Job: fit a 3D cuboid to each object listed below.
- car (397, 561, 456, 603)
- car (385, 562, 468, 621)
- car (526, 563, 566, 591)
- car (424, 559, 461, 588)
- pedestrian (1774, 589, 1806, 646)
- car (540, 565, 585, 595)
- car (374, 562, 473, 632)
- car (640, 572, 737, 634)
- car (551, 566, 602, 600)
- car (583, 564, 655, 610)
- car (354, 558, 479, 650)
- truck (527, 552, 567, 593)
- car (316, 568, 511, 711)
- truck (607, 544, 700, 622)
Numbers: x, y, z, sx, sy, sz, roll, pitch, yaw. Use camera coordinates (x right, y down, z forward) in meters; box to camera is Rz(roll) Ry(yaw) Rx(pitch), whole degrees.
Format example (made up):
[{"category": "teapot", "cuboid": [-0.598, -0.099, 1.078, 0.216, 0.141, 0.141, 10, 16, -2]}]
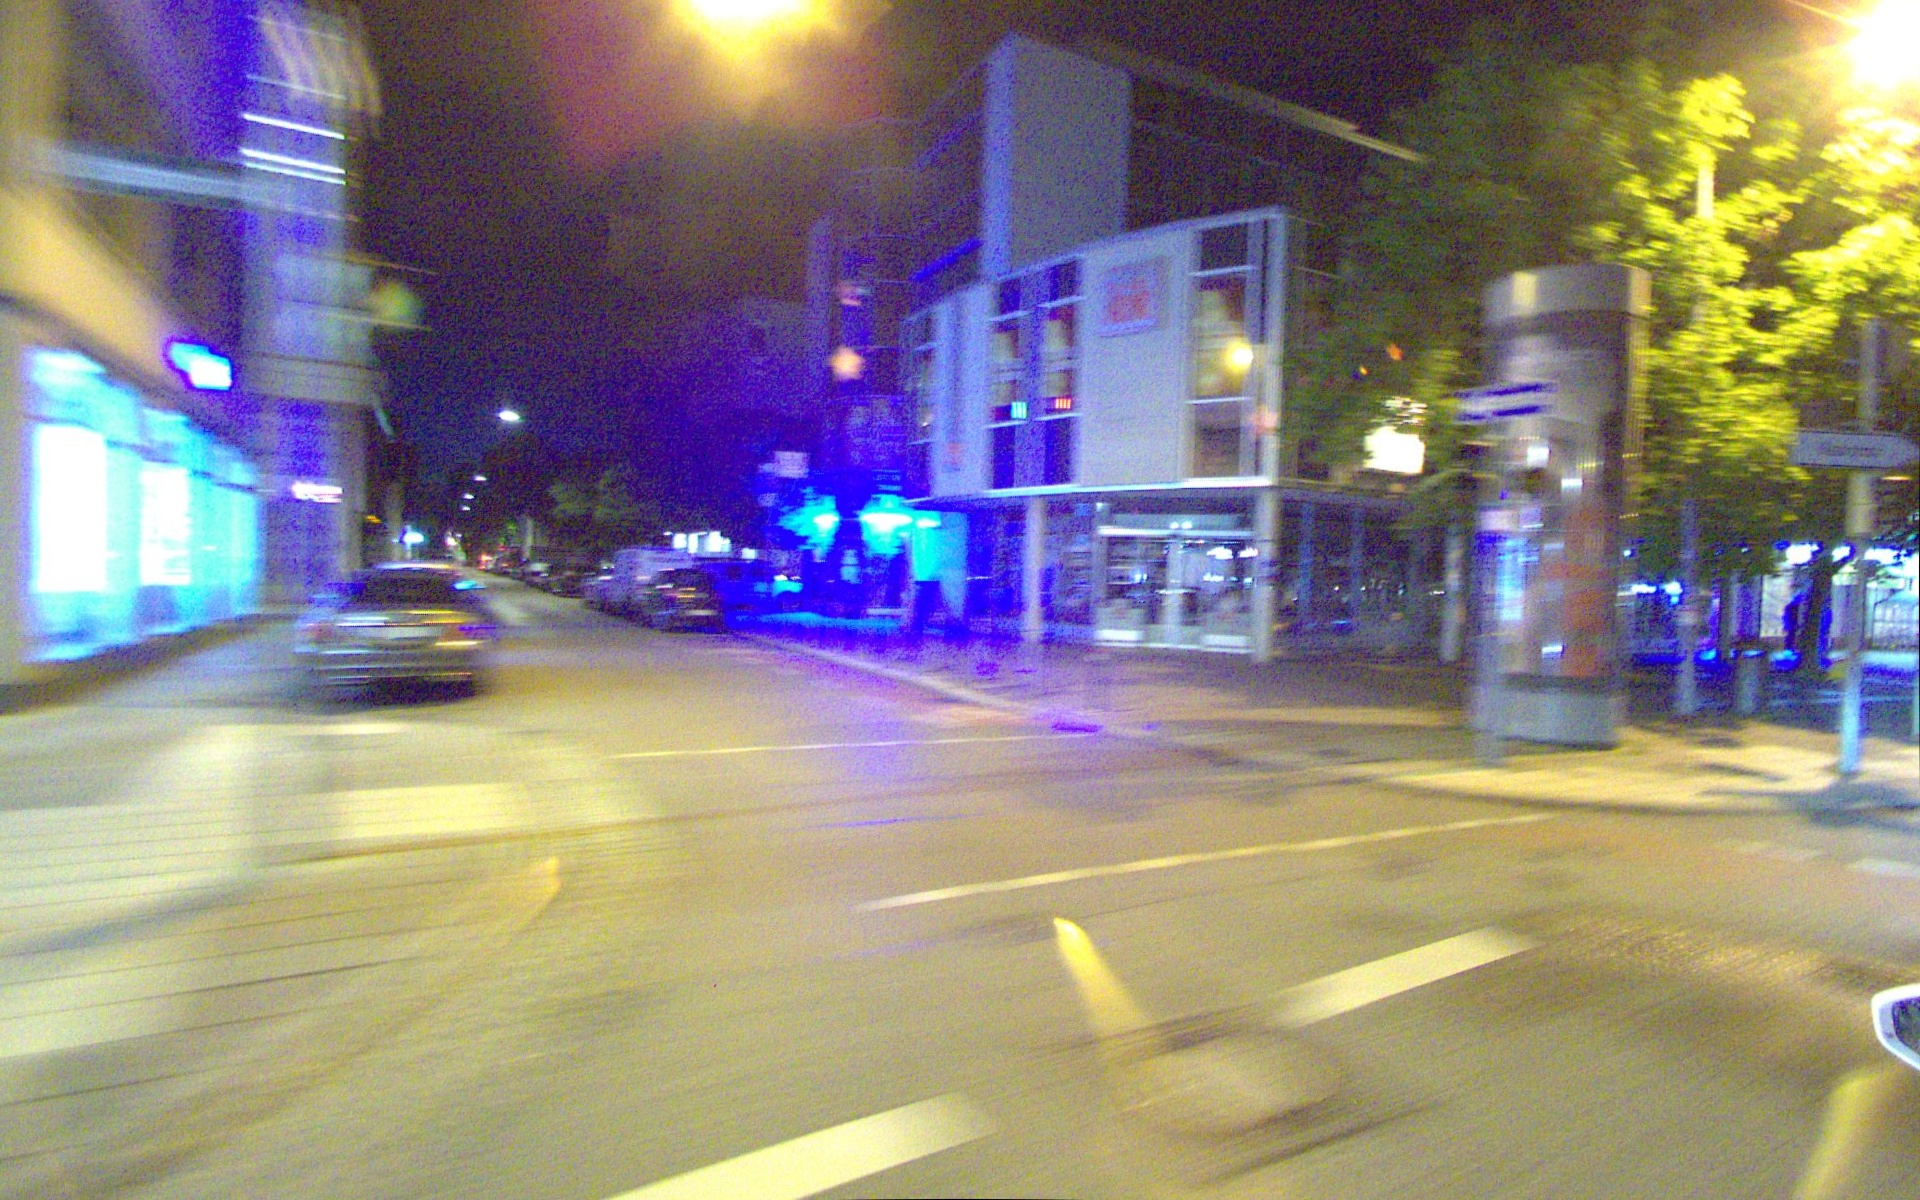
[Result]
[{"category": "car", "cuboid": [-19.319, -0.663, 36.442, 1.780, 1.414, 3.882, 1, 1, -27]}, {"category": "car", "cuboid": [-13.990, -0.250, 26.445, 1.780, 1.414, 3.882, 1, 1, -27]}, {"category": "car", "cuboid": [-22.798, -1.247, 55.292, 1.705, 1.437, 3.882, 1, 1, -27]}, {"category": "car", "cuboid": [-29.040, -1.490, 56.392, 1.780, 1.543, 3.882, 1, 1, -27]}, {"category": "pedestrian", "cuboid": [24.289, 0.506, 29.394, 0.624, 1.658, 0.476, 1, 1, -26]}, {"category": "car", "cuboid": [-20.017, -1.013, 50.450, 1.705, 1.437, 3.882, 1, 1, -27]}, {"category": "car", "cuboid": [-11.940, -0.112, 22.466, 1.780, 1.414, 3.882, 1, 1, -27]}, {"category": "car", "cuboid": [-6.629, 0.043, 24.331, 1.639, 1.403, 3.078, 1, 1, -28]}, {"category": "car", "cuboid": [-17.294, -0.784, 45.259, 1.705, 1.437, 3.882, 1, 1, -27]}, {"category": "car", "cuboid": [-11.565, -0.460, 33.912, 1.705, 1.437, 3.882, 1, 1, -27]}, {"category": "car", "cuboid": [-9.759, 0.011, 18.184, 1.780, 1.456, 4.119, 1, 1, -27]}, {"category": "truck", "cuboid": [-24.523, -1.620, 59.615, 1.835, 2.268, 3.965, 1, 1, -27]}, {"category": "car", "cuboid": [-6.660, 0.353, 12.428, 1.780, 1.416, 4.311, 1, 1, -27]}, {"category": "truck", "cuboid": [-8.873, -0.498, 28.867, 1.835, 2.050, 4.013, 1, 1, -27]}]
